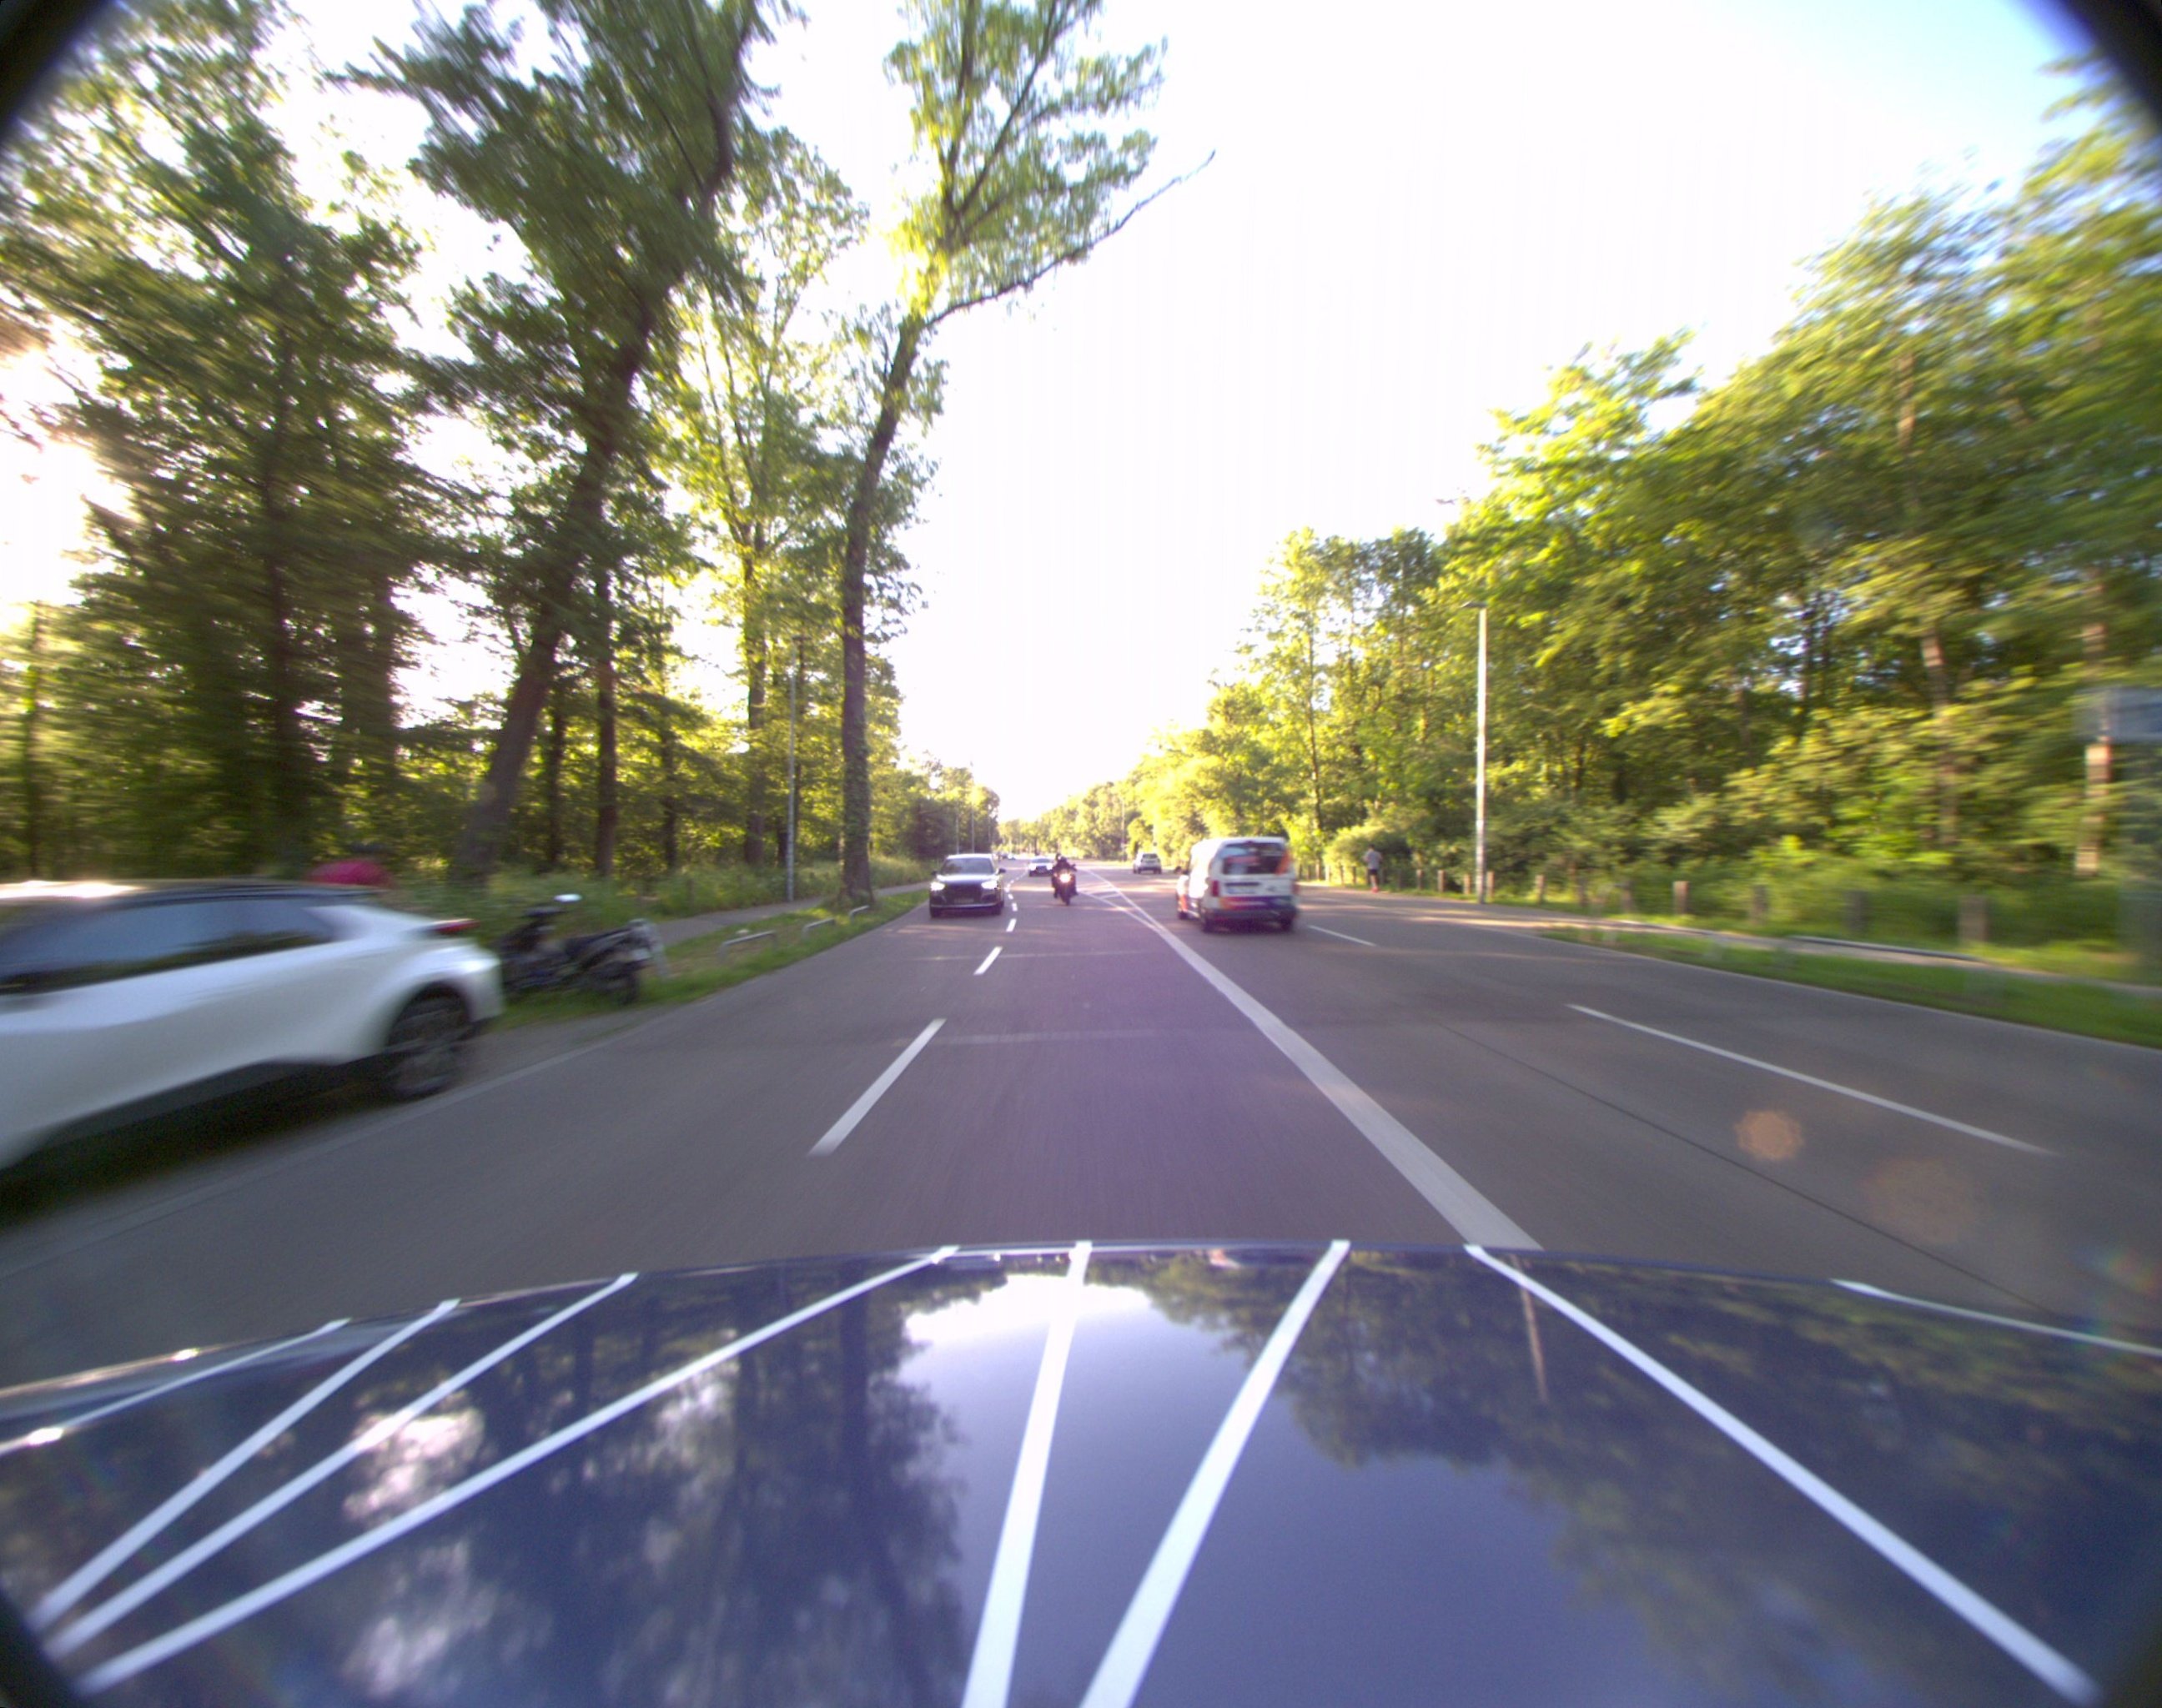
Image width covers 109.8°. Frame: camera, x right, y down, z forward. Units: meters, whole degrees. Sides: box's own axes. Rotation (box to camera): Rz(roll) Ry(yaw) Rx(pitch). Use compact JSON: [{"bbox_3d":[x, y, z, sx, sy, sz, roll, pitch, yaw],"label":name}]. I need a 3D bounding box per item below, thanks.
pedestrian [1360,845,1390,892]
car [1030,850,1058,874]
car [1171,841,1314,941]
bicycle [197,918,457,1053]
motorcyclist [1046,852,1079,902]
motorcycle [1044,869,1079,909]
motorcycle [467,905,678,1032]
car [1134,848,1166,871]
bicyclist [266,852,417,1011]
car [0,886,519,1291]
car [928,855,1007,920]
[{"bbox_3d":[11.148,0.551,28.814,0.773,1.758,0.738,1,1,-5],"label":"pedestrian"},{"bbox_3d":[-2.908,0.572,58.424,1.999,1.761,4.229,-1,1,-4],"label":"car"},{"bbox_3d":[3.129,0.645,15.792,1.911,1.746,4.799,-1,0,-1],"label":"car"},{"bbox_3d":[-7.666,1.281,7.894,0.705,1.051,1.964,0,0,1],"label":"bicycle"},{"bbox_3d":[-0.584,0.719,24.298,0.953,1.523,1.074,-2,1,0],"label":"motorcyclist"},{"bbox_3d":[-0.577,1.074,24.246,0.956,1.098,3.339,-3,0,0],"label":"motorcycle"},{"bbox_3d":[-5.480,1.209,8.281,1.738,1.246,0.771,0,1,-3],"label":"motorcycle"},{"bbox_3d":[5.180,0.407,57.553,1.999,1.649,4.448,-1,0,-1],"label":"car"},{"bbox_3d":[-7.667,0.764,7.925,0.703,1.552,0.876,1,1,1],"label":"bicyclist"},{"bbox_3d":[-5.487,1.069,3.827,1.810,1.551,4.457,2,0,3],"label":"car"},{"bbox_3d":[-3.128,0.859,21.615,1.862,1.608,3.998,-1,1,-4],"label":"car"}]
